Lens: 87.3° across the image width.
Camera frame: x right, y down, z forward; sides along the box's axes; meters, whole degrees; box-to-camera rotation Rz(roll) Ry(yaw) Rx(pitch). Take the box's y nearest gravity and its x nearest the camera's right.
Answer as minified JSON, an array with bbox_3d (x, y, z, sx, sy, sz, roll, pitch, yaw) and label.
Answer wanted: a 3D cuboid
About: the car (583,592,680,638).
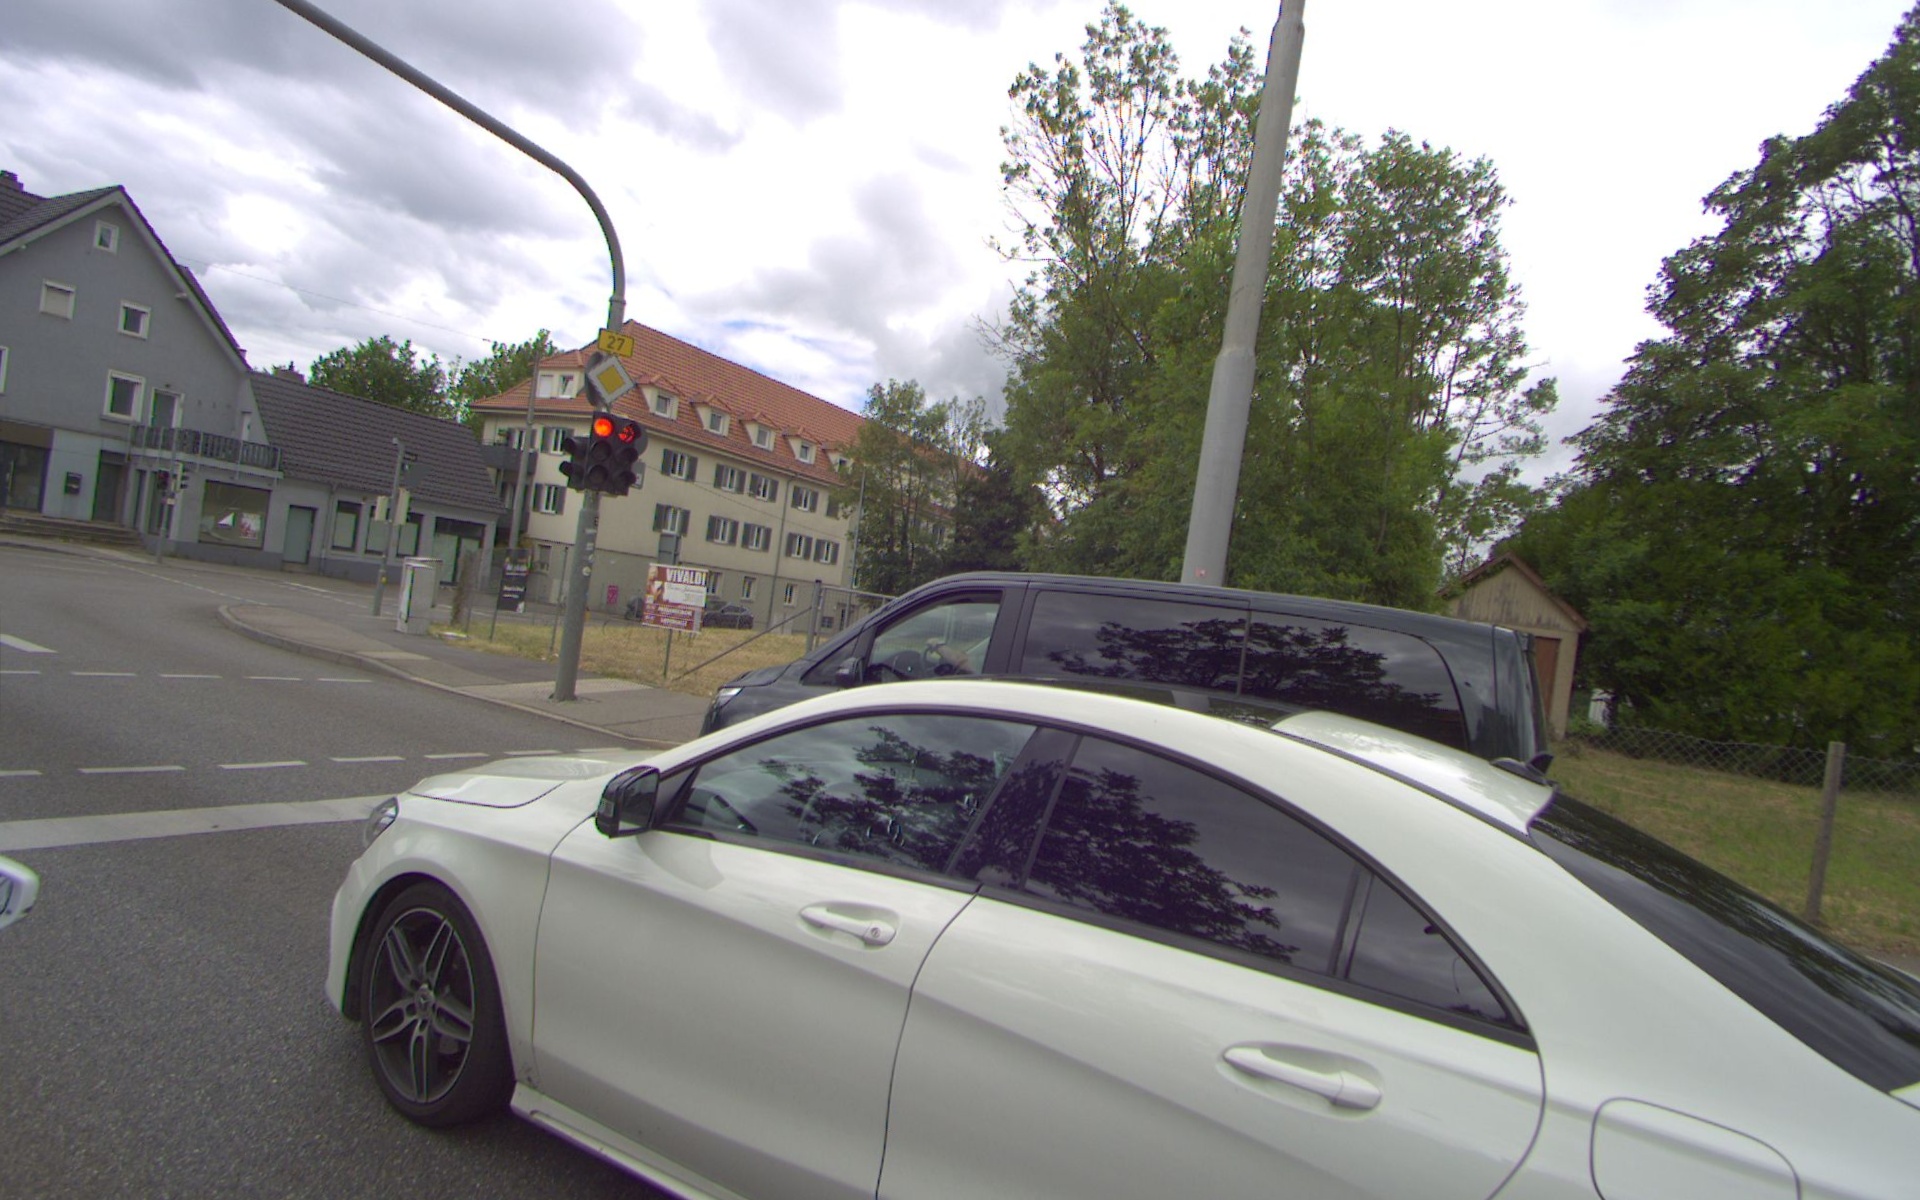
[{"bbox_3d":[-15.523,0.735,47.663,1.839,1.554,3.996,7,-2,32],"label":"car"}]

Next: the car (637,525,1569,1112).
[{"bbox_3d":[0.627,0.803,5.695,4.631,1.860,1.953,7,-2,32],"label":"car"}]

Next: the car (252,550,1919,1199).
[{"bbox_3d":[0.151,0.844,2.641,4.305,1.451,1.651,7,0,32],"label":"car"}]

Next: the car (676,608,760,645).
[{"bbox_3d":[-12.627,1.397,52.651,1.839,1.393,3.996,7,-2,32],"label":"car"}]
